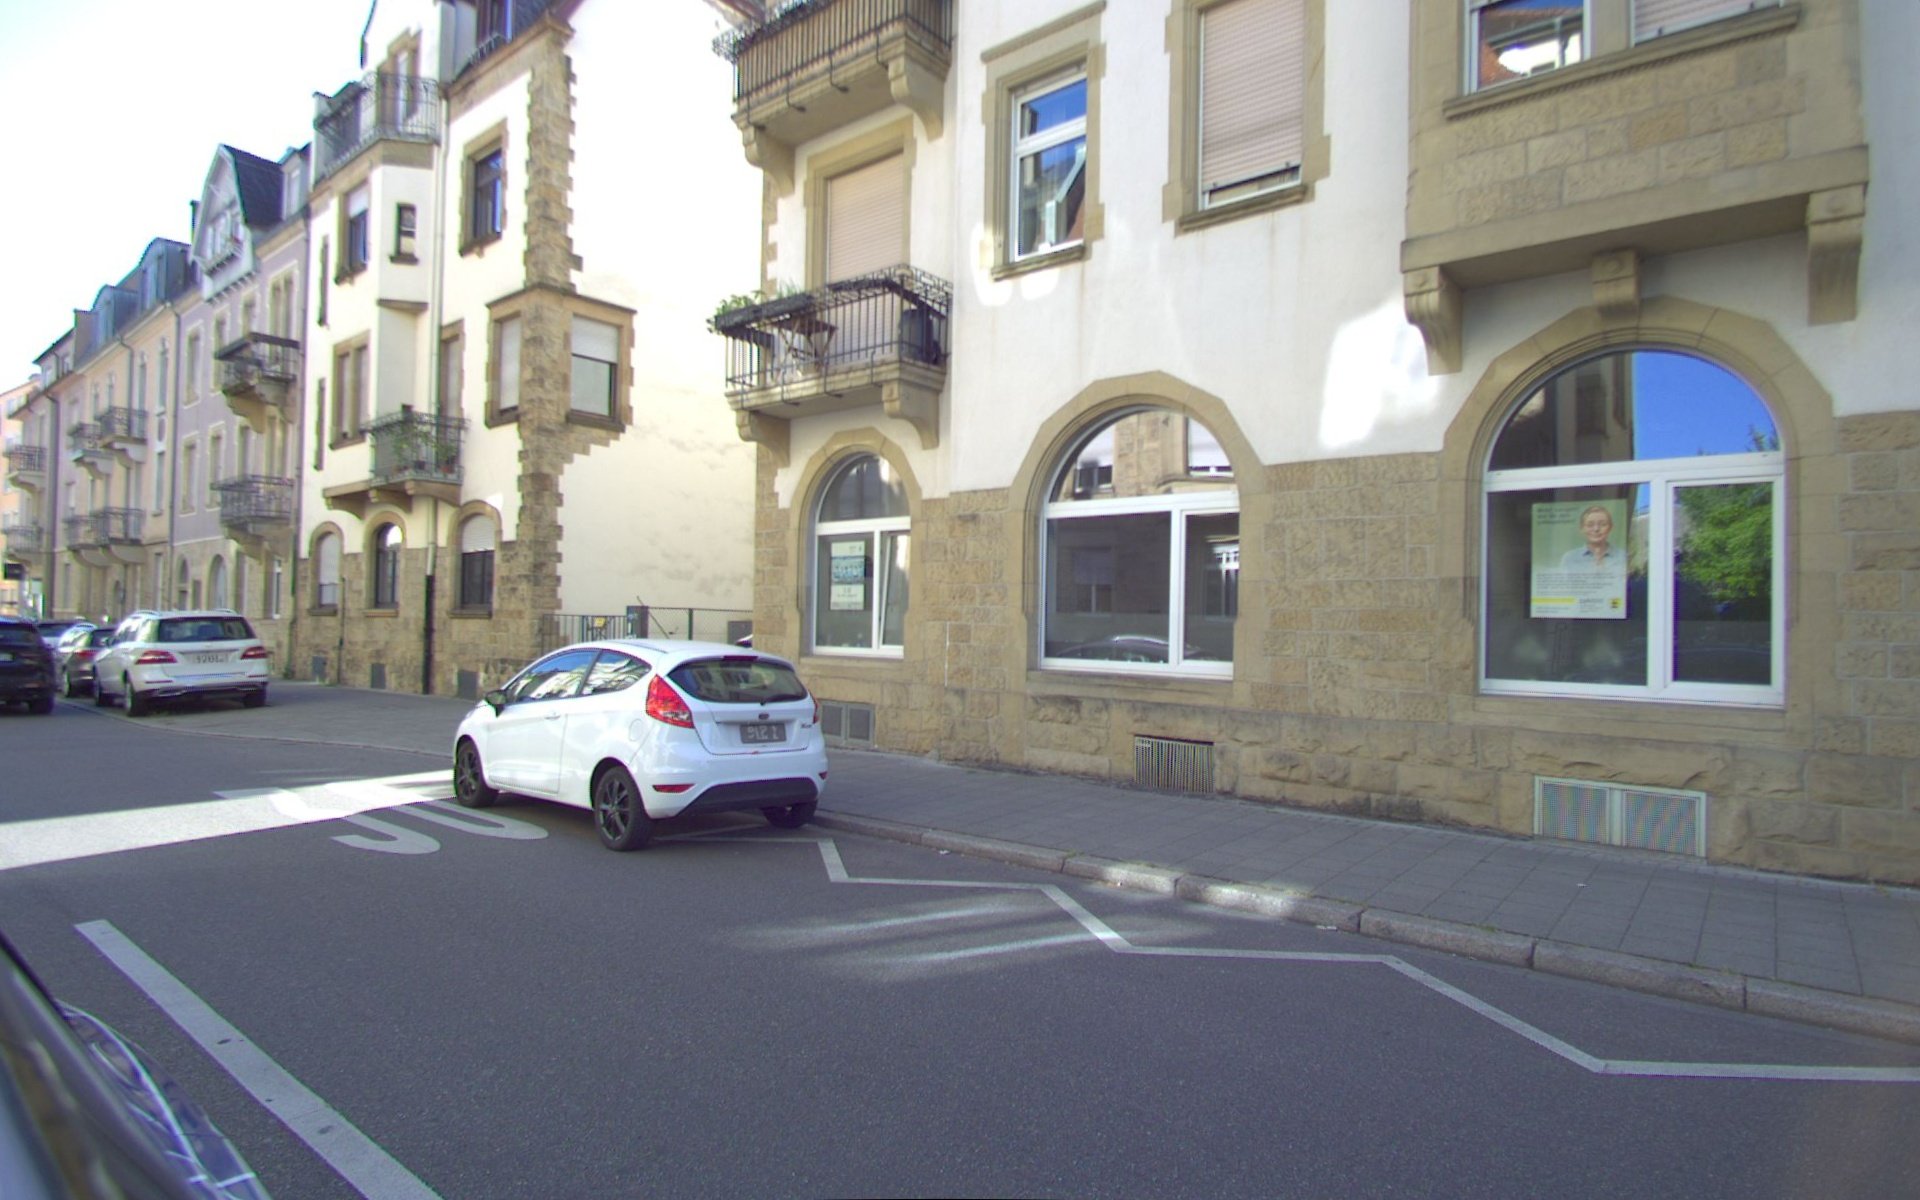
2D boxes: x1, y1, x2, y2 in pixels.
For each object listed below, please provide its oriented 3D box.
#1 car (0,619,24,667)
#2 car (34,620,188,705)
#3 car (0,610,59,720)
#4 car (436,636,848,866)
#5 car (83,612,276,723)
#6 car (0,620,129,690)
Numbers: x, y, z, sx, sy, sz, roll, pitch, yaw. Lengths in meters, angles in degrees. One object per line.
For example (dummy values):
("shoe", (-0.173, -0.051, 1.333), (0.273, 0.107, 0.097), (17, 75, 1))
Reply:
("car", (-33.466, 1.461, 34.457), (4.344, 1.529, 1.893), (0, 1, 41))
("car", (-18.406, 1.266, 21.867), (4.344, 1.529, 1.893), (0, 1, 41))
("car", (-17.001, 1.066, 17.293), (4.345, 1.741, 1.892), (-2, -4, 42))
("car", (-2.688, 1.044, 8.180), (3.570, 1.422, 1.536), (-1, -5, 42))
("car", (-13.980, 1.081, 18.033), (4.344, 1.671, 1.893), (0, 1, 41))
("car", (-22.807, 1.323, 25.729), (4.344, 1.529, 1.893), (0, 1, 41))
